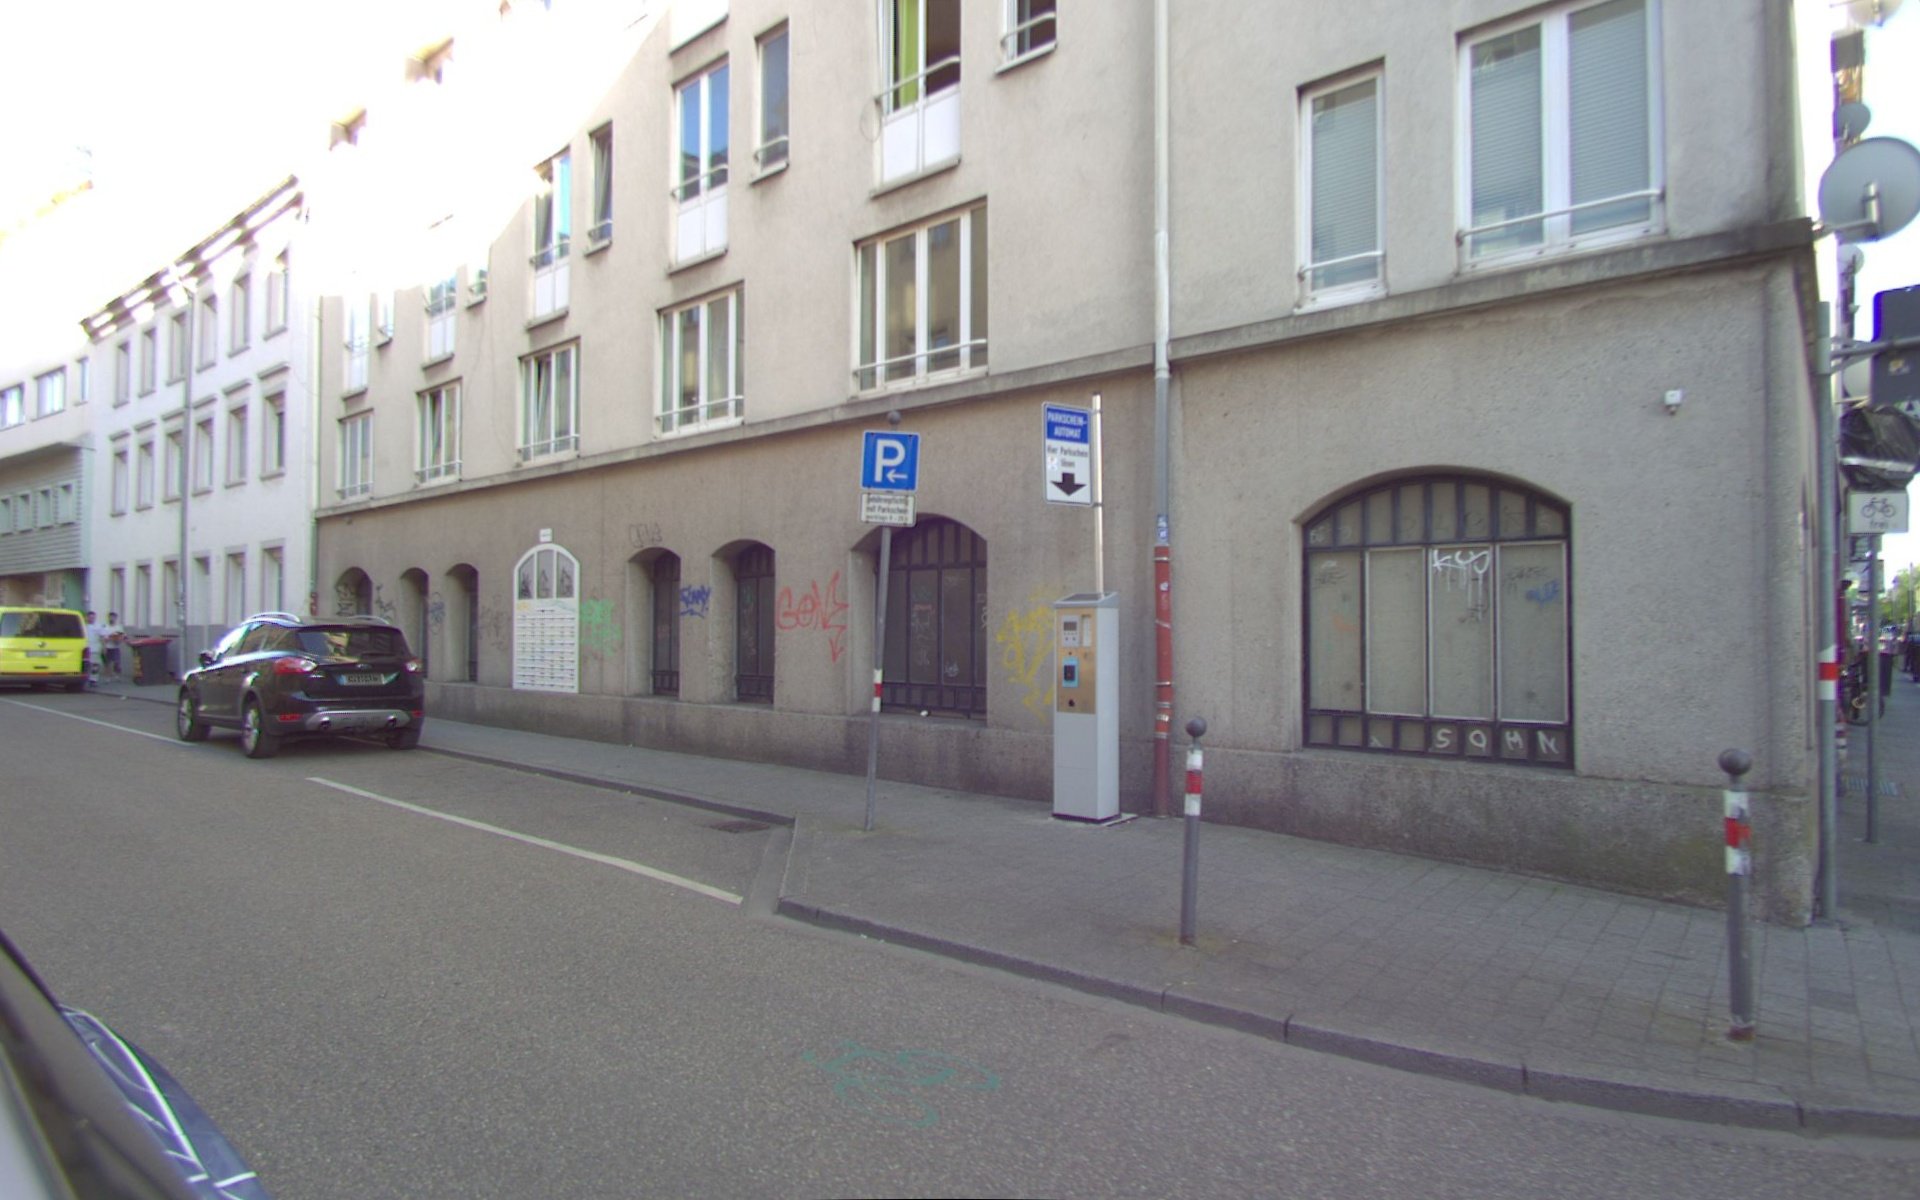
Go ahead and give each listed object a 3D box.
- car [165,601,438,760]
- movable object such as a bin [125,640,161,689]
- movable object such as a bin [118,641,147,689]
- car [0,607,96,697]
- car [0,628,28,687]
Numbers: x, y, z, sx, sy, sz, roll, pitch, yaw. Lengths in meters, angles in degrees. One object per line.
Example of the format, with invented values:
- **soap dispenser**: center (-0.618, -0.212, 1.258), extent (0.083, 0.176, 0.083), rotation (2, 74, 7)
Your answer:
- **car**: center (-8.585, 0.975, 13.064), extent (4.186, 1.724, 1.722), rotation (-2, -5, 40)
- **movable object such as a bin**: center (-18.957, 1.485, 23.483), extent (0.432, 1.113, 0.535), rotation (-1, -3, 37)
- **movable object such as a bin**: center (-19.471, 1.514, 23.822), extent (0.432, 1.113, 0.406), rotation (-1, -3, 38)
- **car**: center (-21.912, 1.180, 23.322), extent (4.853, 1.881, 1.863), rotation (-1, -4, 36)
- **car**: center (-26.287, 1.455, 26.482), extent (4.065, 1.497, 1.804), rotation (-1, -4, 34)
